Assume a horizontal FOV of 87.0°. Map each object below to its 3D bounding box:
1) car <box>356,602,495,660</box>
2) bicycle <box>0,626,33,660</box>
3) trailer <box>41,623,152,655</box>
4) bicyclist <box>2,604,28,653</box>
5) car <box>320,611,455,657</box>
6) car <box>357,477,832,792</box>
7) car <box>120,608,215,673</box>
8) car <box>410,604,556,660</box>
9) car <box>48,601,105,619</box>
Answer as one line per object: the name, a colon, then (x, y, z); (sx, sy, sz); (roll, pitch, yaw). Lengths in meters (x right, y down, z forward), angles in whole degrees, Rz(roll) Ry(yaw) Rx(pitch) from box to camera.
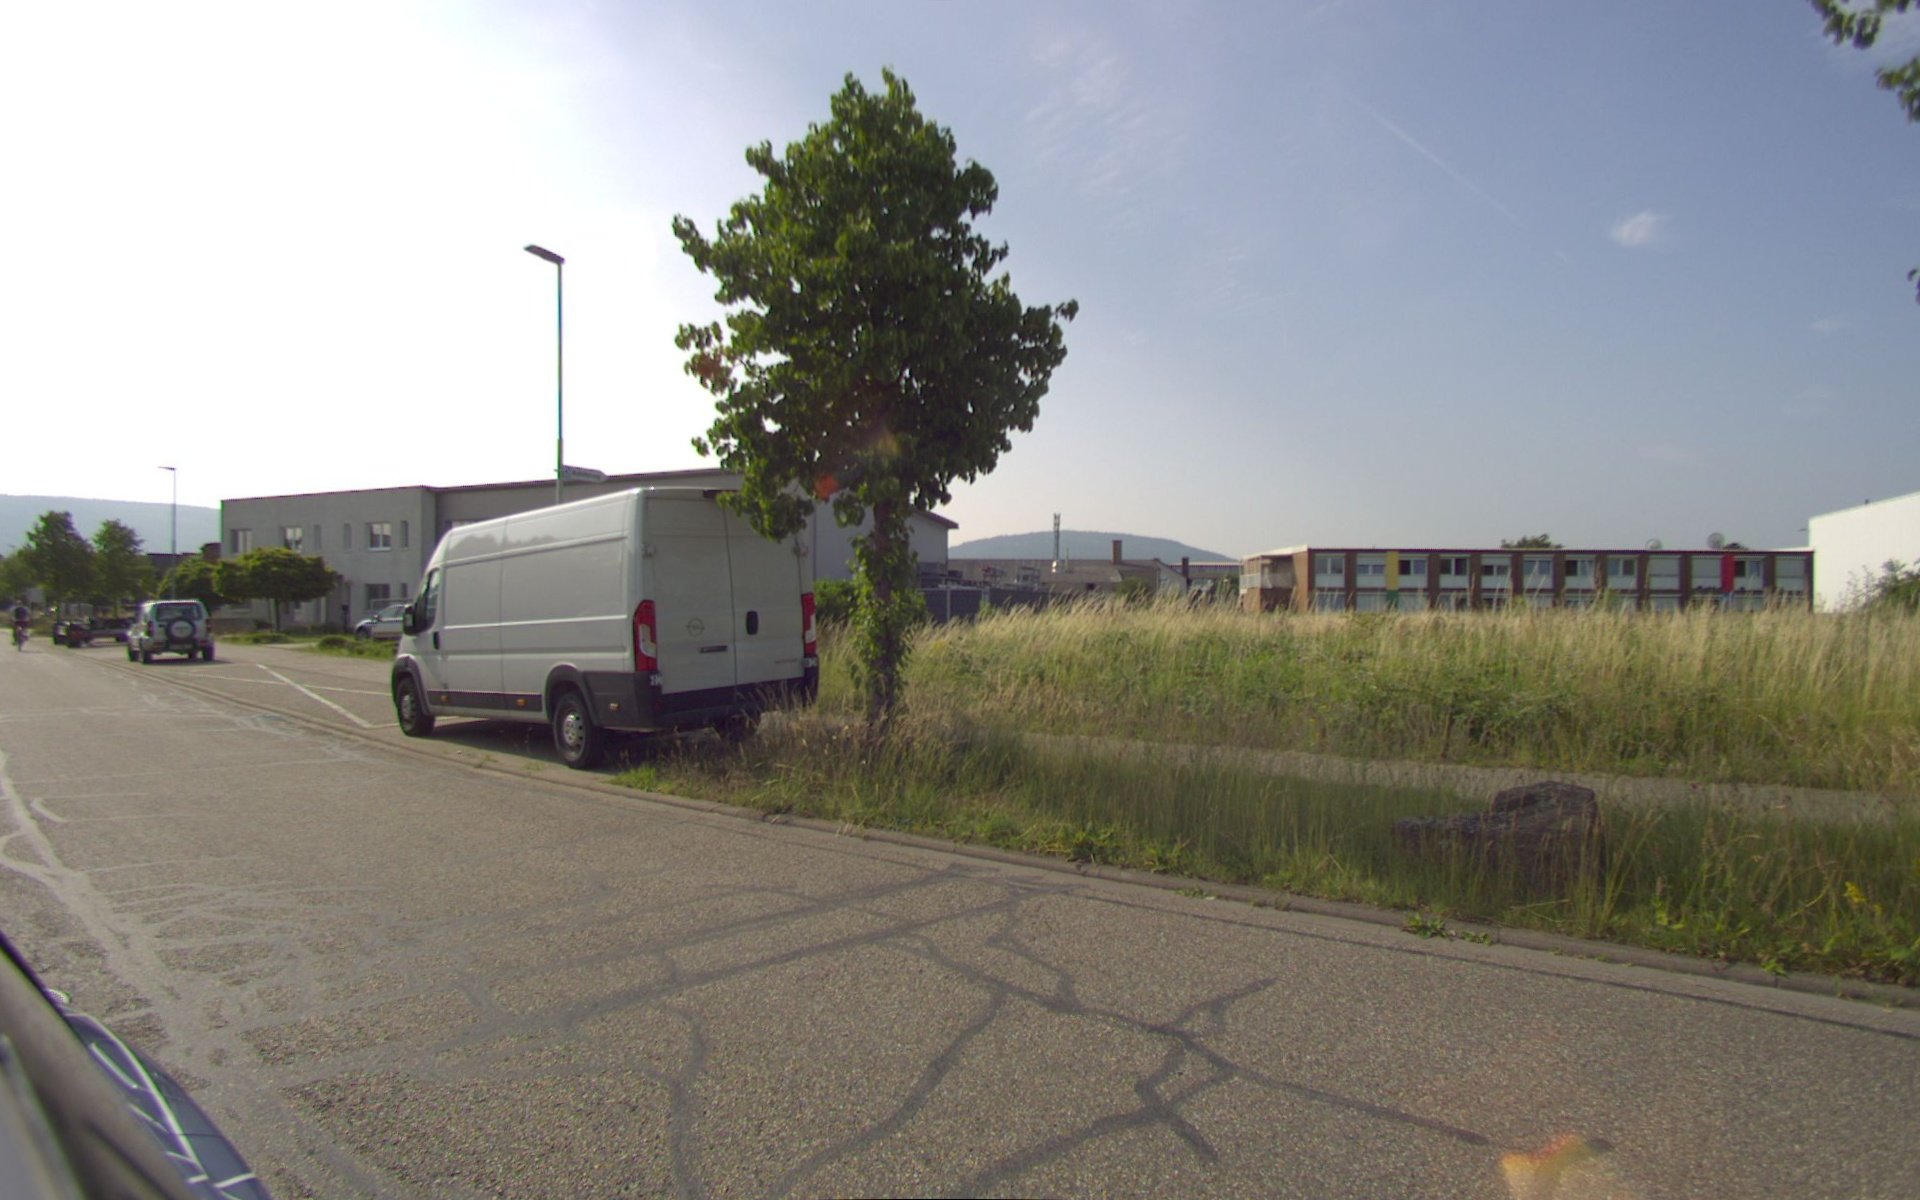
car: (-15.955, 0.887, 30.188); (3.797, 1.583, 1.823); (-1, 1, 27)
bicycle: (-33.646, 1.529, 36.066); (2.220, 1.131, 0.708); (-1, -3, 44)
trailer: (-35.774, 1.538, 41.768); (9.733, 1.082, 2.518); (-1, 1, 44)
bicyclist: (-33.835, 1.016, 36.228); (1.166, 1.732, 0.632); (-1, -1, 44)
car: (-19.860, 1.144, 35.091); (4.398, 1.487, 1.964); (-1, 0, 26)
car: (-4.410, 0.292, 11.344); (6.500, 2.614, 2.080); (-1, 1, 41)
car: (-22.110, 1.076, 28.195); (3.645, 1.663, 1.579); (-1, 0, 44)
car: (-15.305, 0.979, 32.448); (4.398, 1.671, 1.978); (-1, 0, 26)
car: (-83.959, 0.949, 96.172); (2.001, 1.741, 3.942); (-1, -1, 44)
